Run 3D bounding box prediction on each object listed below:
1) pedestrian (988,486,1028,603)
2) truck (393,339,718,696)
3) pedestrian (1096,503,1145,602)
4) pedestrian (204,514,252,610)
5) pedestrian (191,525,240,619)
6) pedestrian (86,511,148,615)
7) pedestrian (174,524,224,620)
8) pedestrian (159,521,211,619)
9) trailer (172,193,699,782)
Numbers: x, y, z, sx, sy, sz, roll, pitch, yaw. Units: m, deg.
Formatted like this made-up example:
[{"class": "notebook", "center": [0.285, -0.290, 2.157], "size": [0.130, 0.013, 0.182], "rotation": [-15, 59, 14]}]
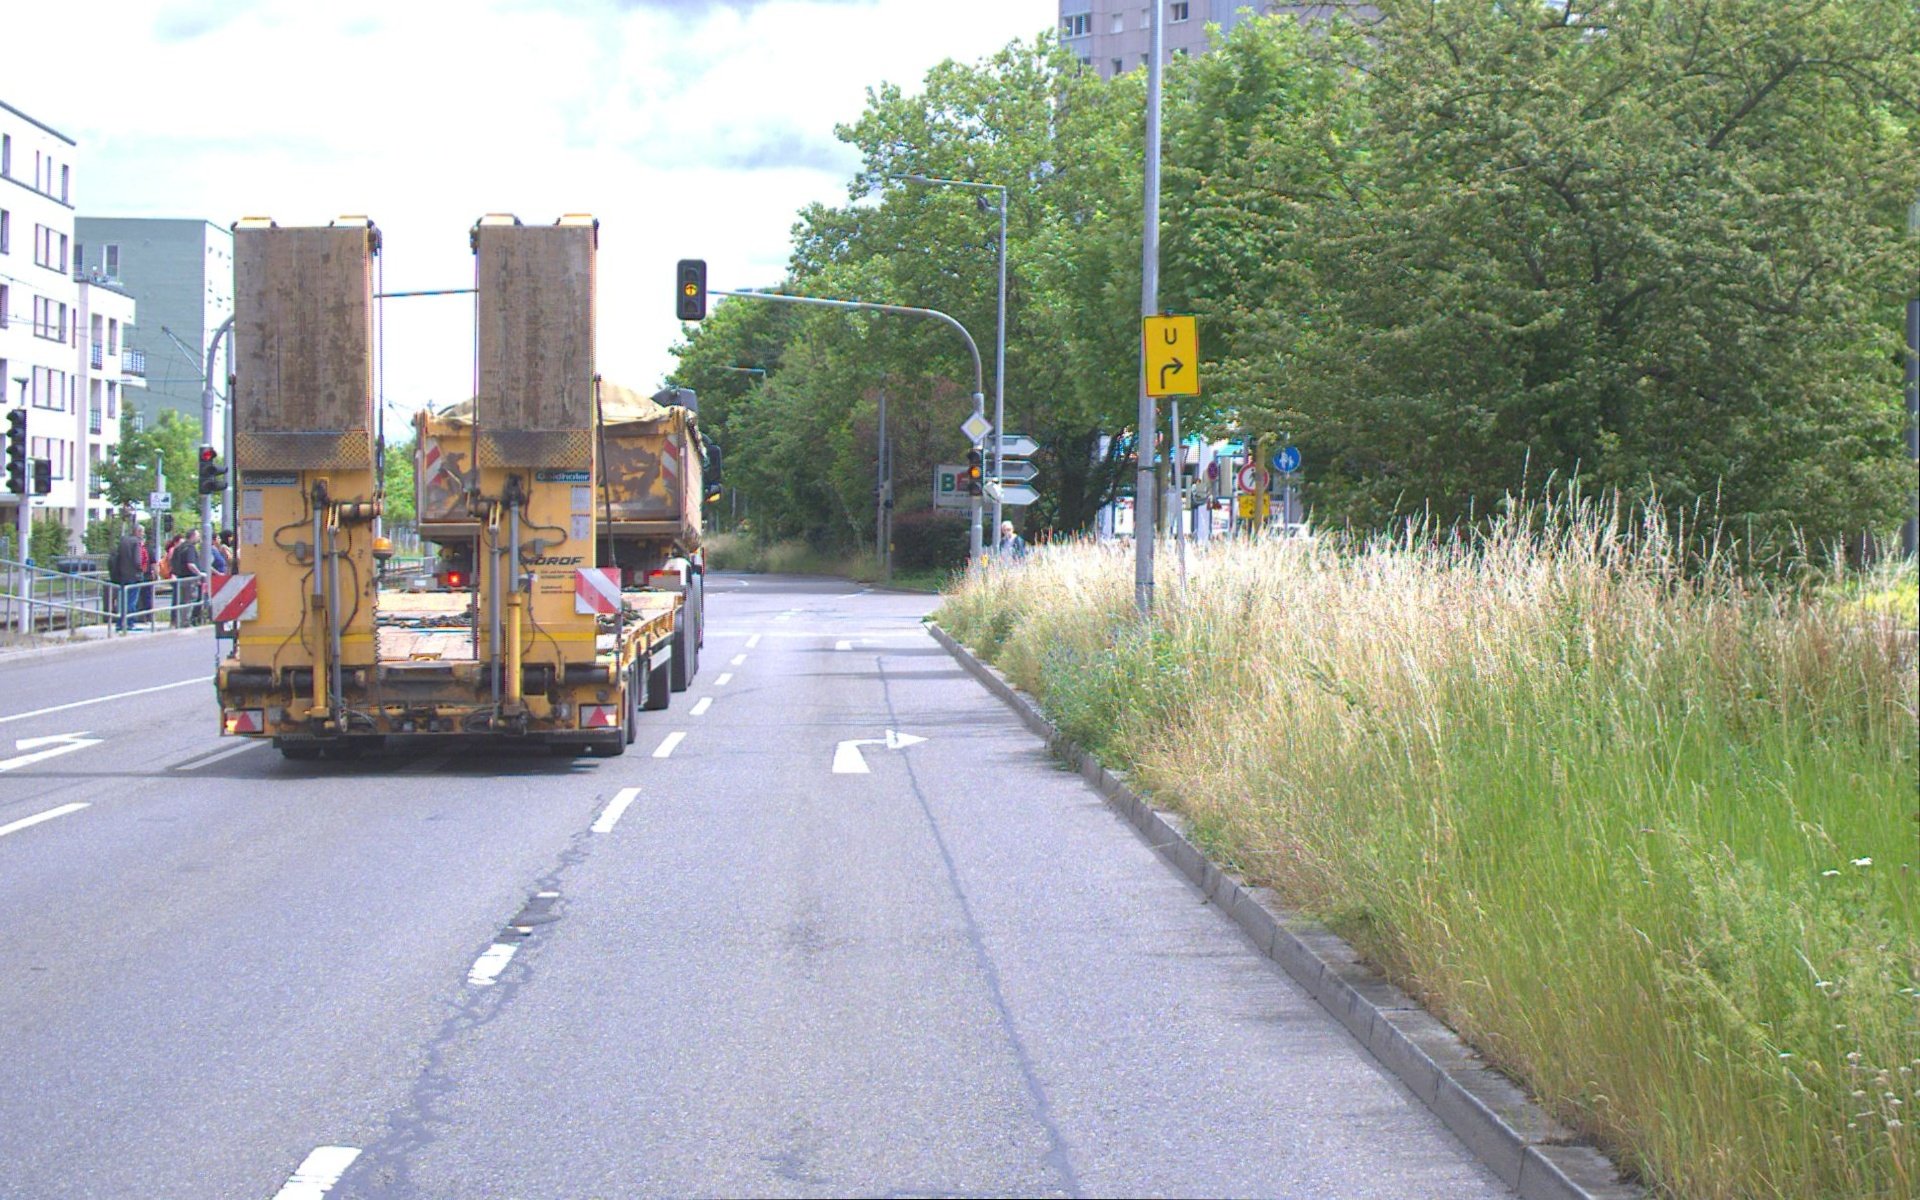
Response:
[{"class": "pedestrian", "center": [0.828, -0.959, 59.270], "size": [0.561, 2.007, 0.492], "rotation": [1, 0, -11]}, {"class": "truck", "center": [-4.092, -0.870, 36.453], "size": [2.753, 3.302, 8.353], "rotation": [1, 1, -2]}, {"class": "pedestrian", "center": [2.696, -0.795, 57.773], "size": [0.628, 1.647, 0.562], "rotation": [1, 0, 24]}, {"class": "pedestrian", "center": [-12.850, -0.674, 60.346], "size": [0.681, 1.664, 0.823], "rotation": [1, 1, -3]}, {"class": "pedestrian", "center": [-12.881, -0.487, 59.466], "size": [0.681, 1.597, 0.823], "rotation": [1, 1, -3]}, {"class": "pedestrian", "center": [-13.648, -0.597, 55.659], "size": [0.820, 1.663, 0.683], "rotation": [1, 1, -1]}, {"class": "pedestrian", "center": [-12.833, -0.471, 57.984], "size": [0.681, 1.597, 0.823], "rotation": [1, 1, -3]}, {"class": "pedestrian", "center": [-12.810, -0.497, 56.852], "size": [0.681, 1.597, 0.823], "rotation": [1, 1, -3]}, {"class": "trailer", "center": [-3.631, -0.810, 26.615], "size": [2.729, 3.546, 11.255], "rotation": [1, 1, -2]}]
